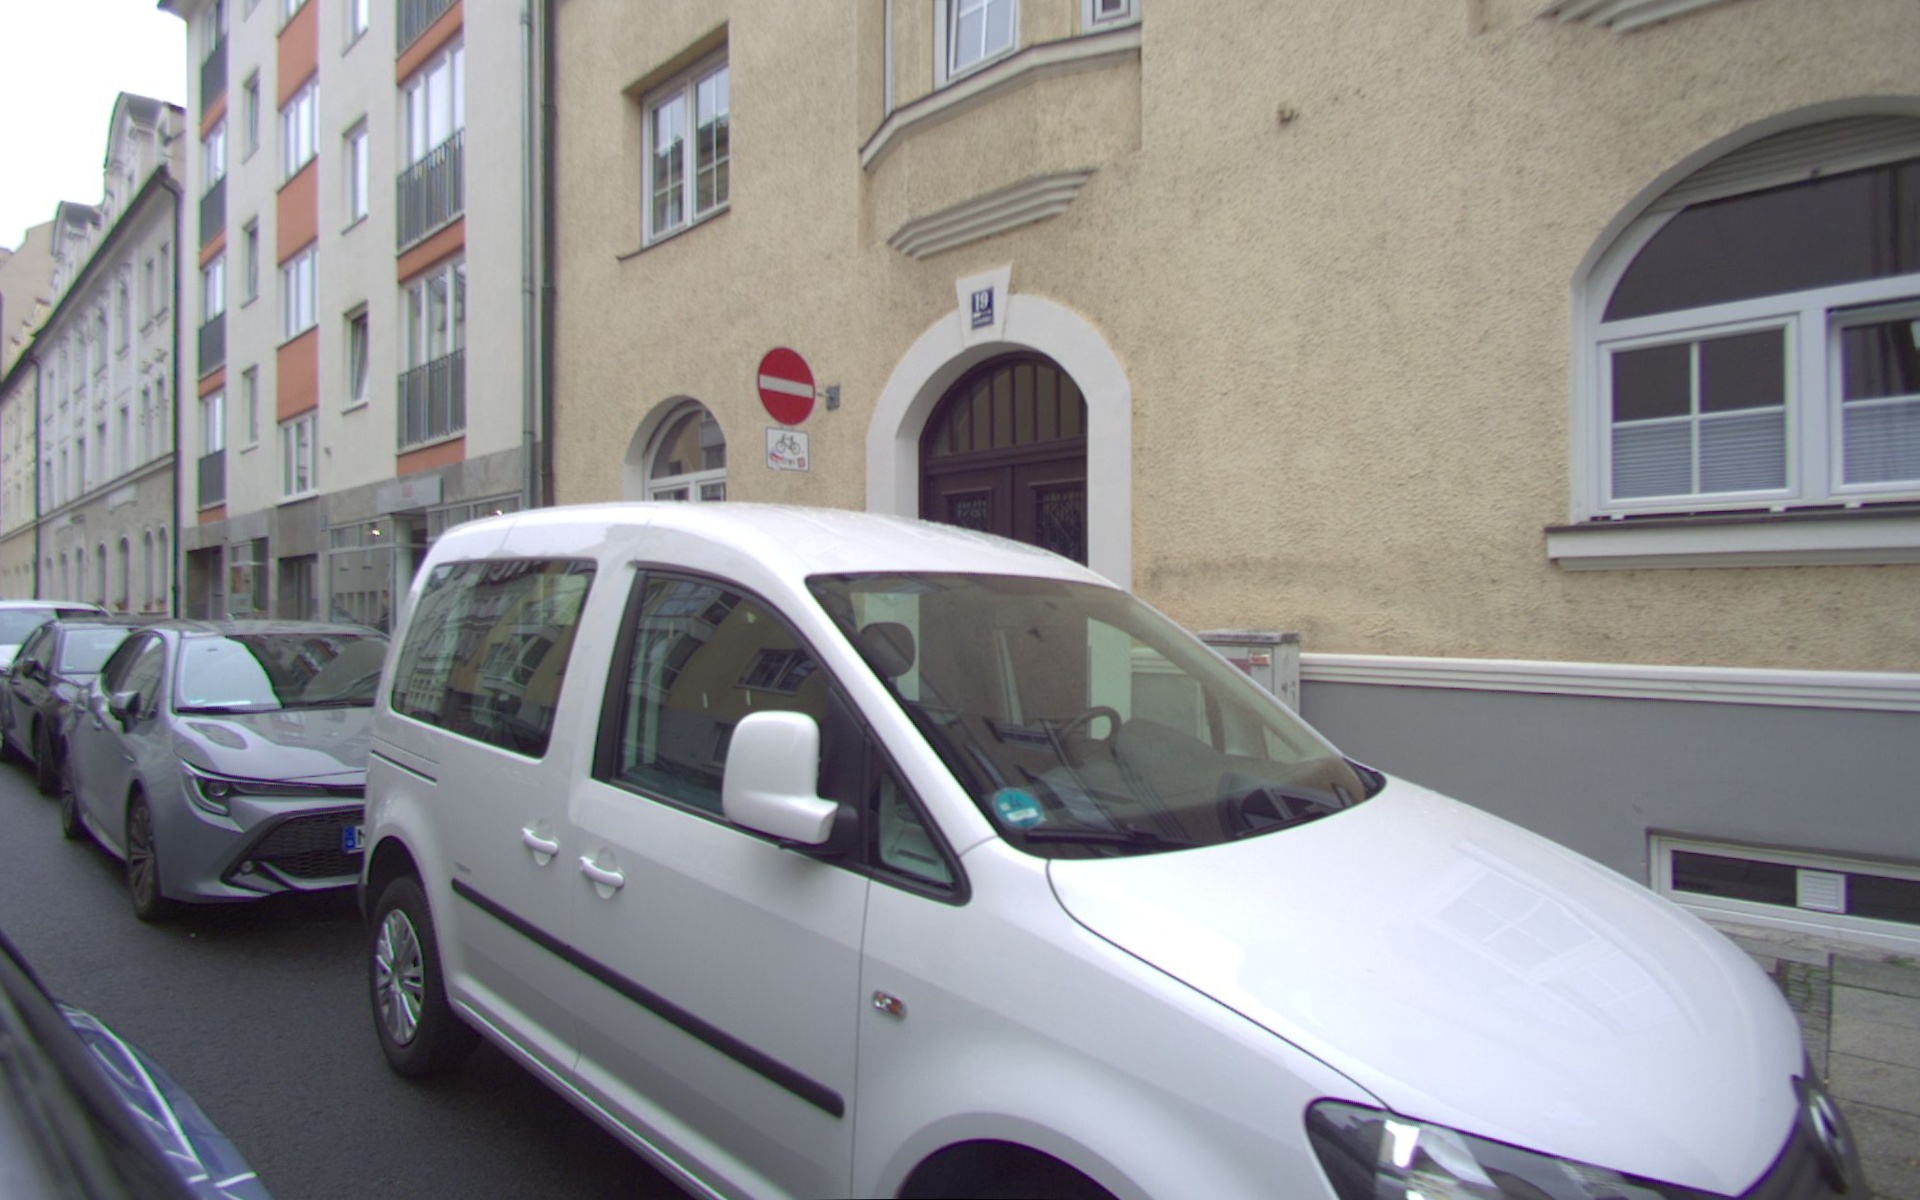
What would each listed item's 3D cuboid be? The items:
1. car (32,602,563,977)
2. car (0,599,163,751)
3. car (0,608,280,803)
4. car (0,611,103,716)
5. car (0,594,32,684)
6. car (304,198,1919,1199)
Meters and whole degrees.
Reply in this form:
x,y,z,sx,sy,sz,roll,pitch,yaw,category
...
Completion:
x,y,z,sx,sy,sz,roll,pitch,yaw,category
-4.203,0.806,6.123,4.111,1.486,1.654,1,-2,42,car
-11.641,0.847,12.545,4.302,1.617,1.764,-1,-3,38,car
-8.045,0.869,9.653,3.839,1.486,1.611,-1,-3,41,car
-14.942,0.943,15.909,4.027,1.486,1.611,-1,-3,41,car
-22.346,0.818,22.528,4.906,1.875,1.926,-1,-3,41,car
-0.196,0.604,2.818,4.249,1.802,1.705,1,-2,43,car
